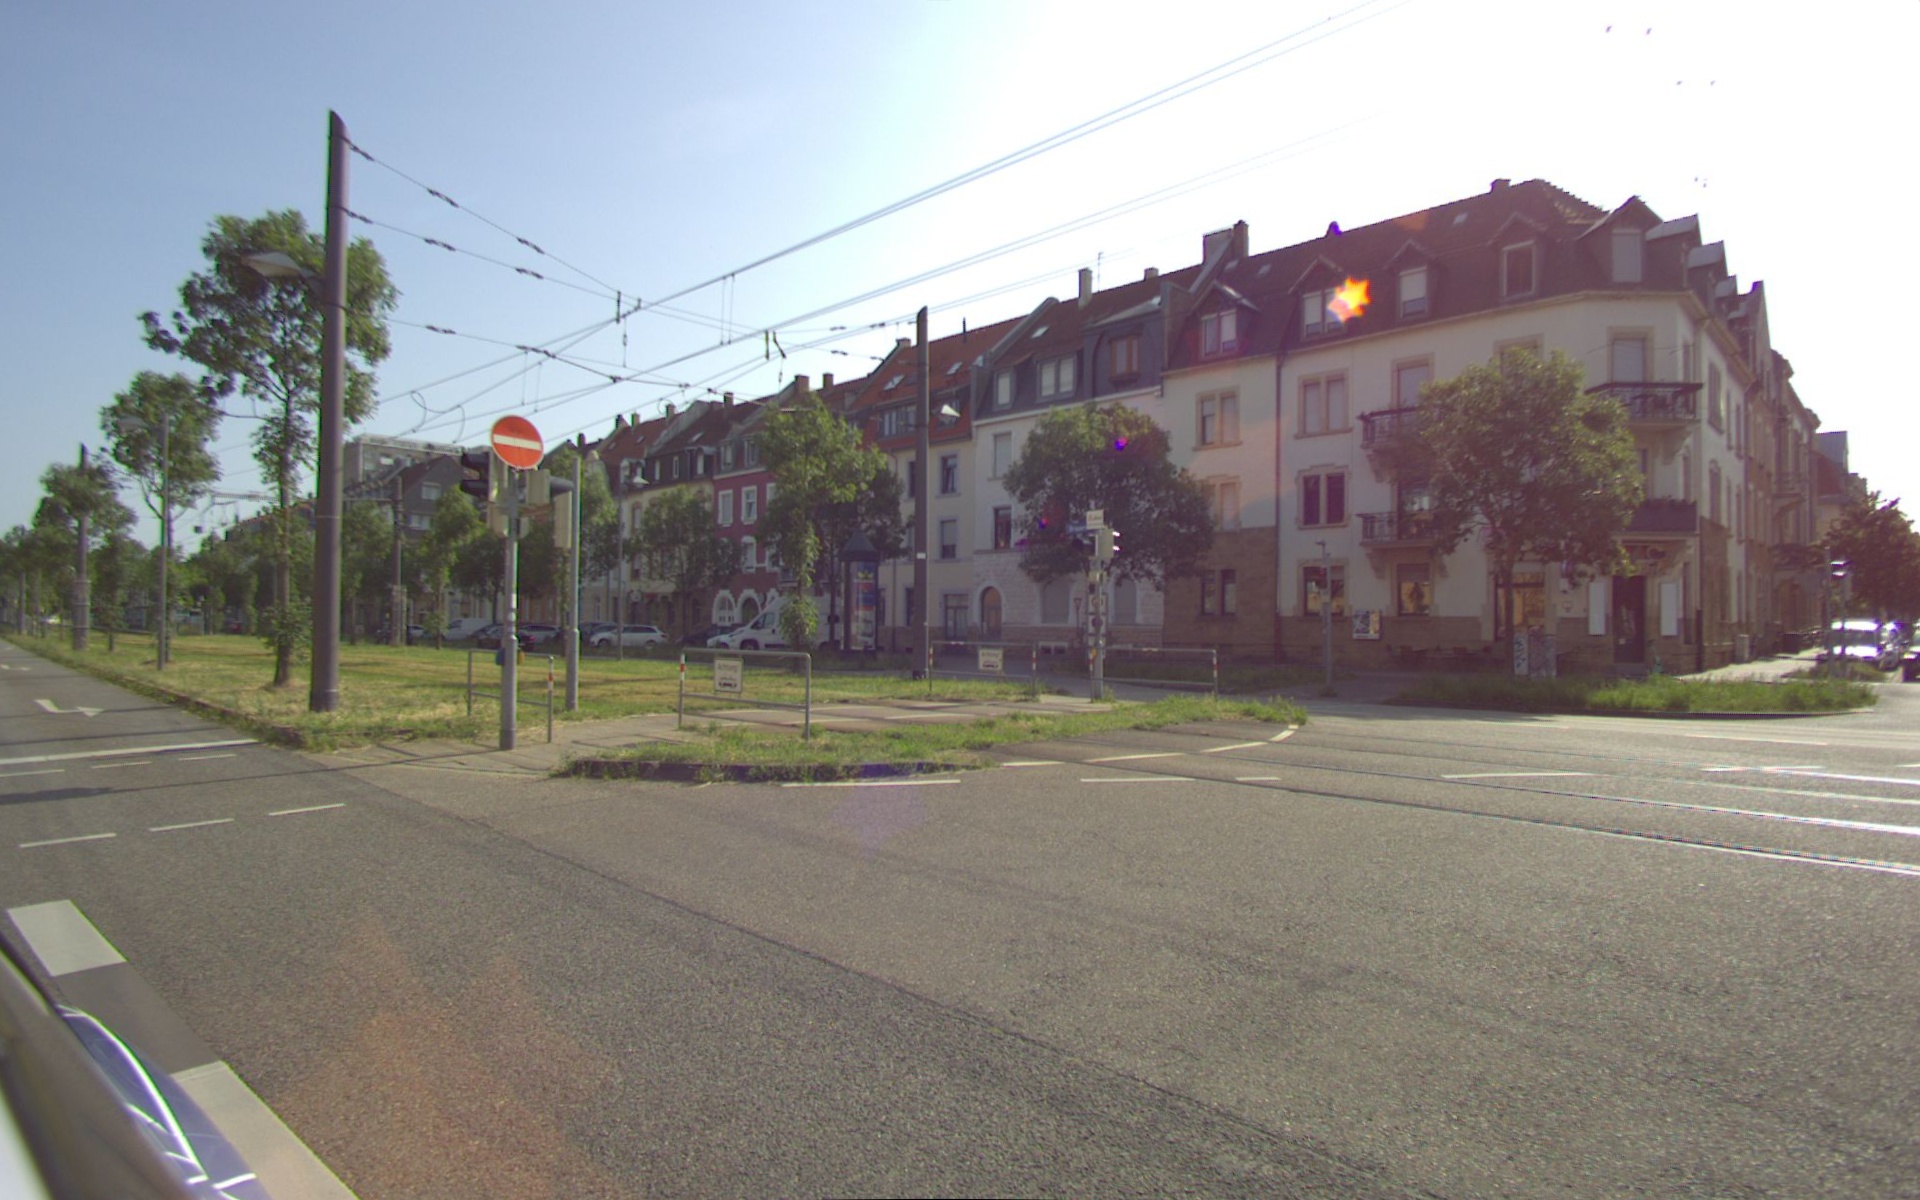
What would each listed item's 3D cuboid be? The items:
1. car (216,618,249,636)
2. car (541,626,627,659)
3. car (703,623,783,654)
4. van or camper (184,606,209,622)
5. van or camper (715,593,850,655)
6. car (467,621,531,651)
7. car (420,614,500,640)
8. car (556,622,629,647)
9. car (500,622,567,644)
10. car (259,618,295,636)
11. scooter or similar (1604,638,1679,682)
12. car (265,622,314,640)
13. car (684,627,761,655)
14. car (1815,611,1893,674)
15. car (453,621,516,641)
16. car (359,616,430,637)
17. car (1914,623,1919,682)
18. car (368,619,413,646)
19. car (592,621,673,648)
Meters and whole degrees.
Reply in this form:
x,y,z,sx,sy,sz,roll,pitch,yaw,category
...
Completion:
x,y,z,sx,sy,sz,roll,pitch,yaw,category
-73.289,2.714,101.952,1.970,1.642,5.384,-1,0,-44,car
-21.946,2.451,59.133,4.568,1.756,1.840,-1,0,-21,car
-10.217,1.798,47.817,3.627,1.341,1.666,-1,0,-11,car
-104.930,1.948,139.114,5.355,2.113,1.929,-1,0,44,van or camper
-7.978,1.027,45.572,5.829,2.593,2.204,-1,0,-11,van or camper
-24.338,1.861,53.392,3.927,1.444,1.792,-1,0,44,car
-36.179,1.956,73.357,4.871,1.739,1.861,-1,0,-11,car
-20.428,1.894,56.440,3.626,1.251,1.666,-1,0,-12,car
-26.834,2.048,63.767,3.627,1.251,1.666,-1,0,-11,car
-61.298,2.420,90.799,1.924,1.470,4.653,-1,0,-43,car
17.759,1.543,26.415,1.479,1.077,0.736,-1,0,24,scooter or similar
-72.141,3.304,108.960,3.935,1.739,2.005,-1,0,-11,car
-11.708,2.006,50.018,3.627,1.251,1.666,-1,0,-10,car
29.593,1.341,33.487,1.834,1.863,3.944,-1,0,42,car
-32.119,2.127,68.437,3.626,1.251,1.529,-1,-2,-11,car
-45.957,2.148,82.370,4.698,1.496,2.028,-1,0,-13,car
30.508,1.585,30.959,1.834,1.633,3.944,-1,0,42,car
-37.943,2.116,67.335,1.743,1.668,4.005,-1,0,-42,car
-17.581,1.841,54.455,3.949,1.326,1.666,-1,0,-11,car
